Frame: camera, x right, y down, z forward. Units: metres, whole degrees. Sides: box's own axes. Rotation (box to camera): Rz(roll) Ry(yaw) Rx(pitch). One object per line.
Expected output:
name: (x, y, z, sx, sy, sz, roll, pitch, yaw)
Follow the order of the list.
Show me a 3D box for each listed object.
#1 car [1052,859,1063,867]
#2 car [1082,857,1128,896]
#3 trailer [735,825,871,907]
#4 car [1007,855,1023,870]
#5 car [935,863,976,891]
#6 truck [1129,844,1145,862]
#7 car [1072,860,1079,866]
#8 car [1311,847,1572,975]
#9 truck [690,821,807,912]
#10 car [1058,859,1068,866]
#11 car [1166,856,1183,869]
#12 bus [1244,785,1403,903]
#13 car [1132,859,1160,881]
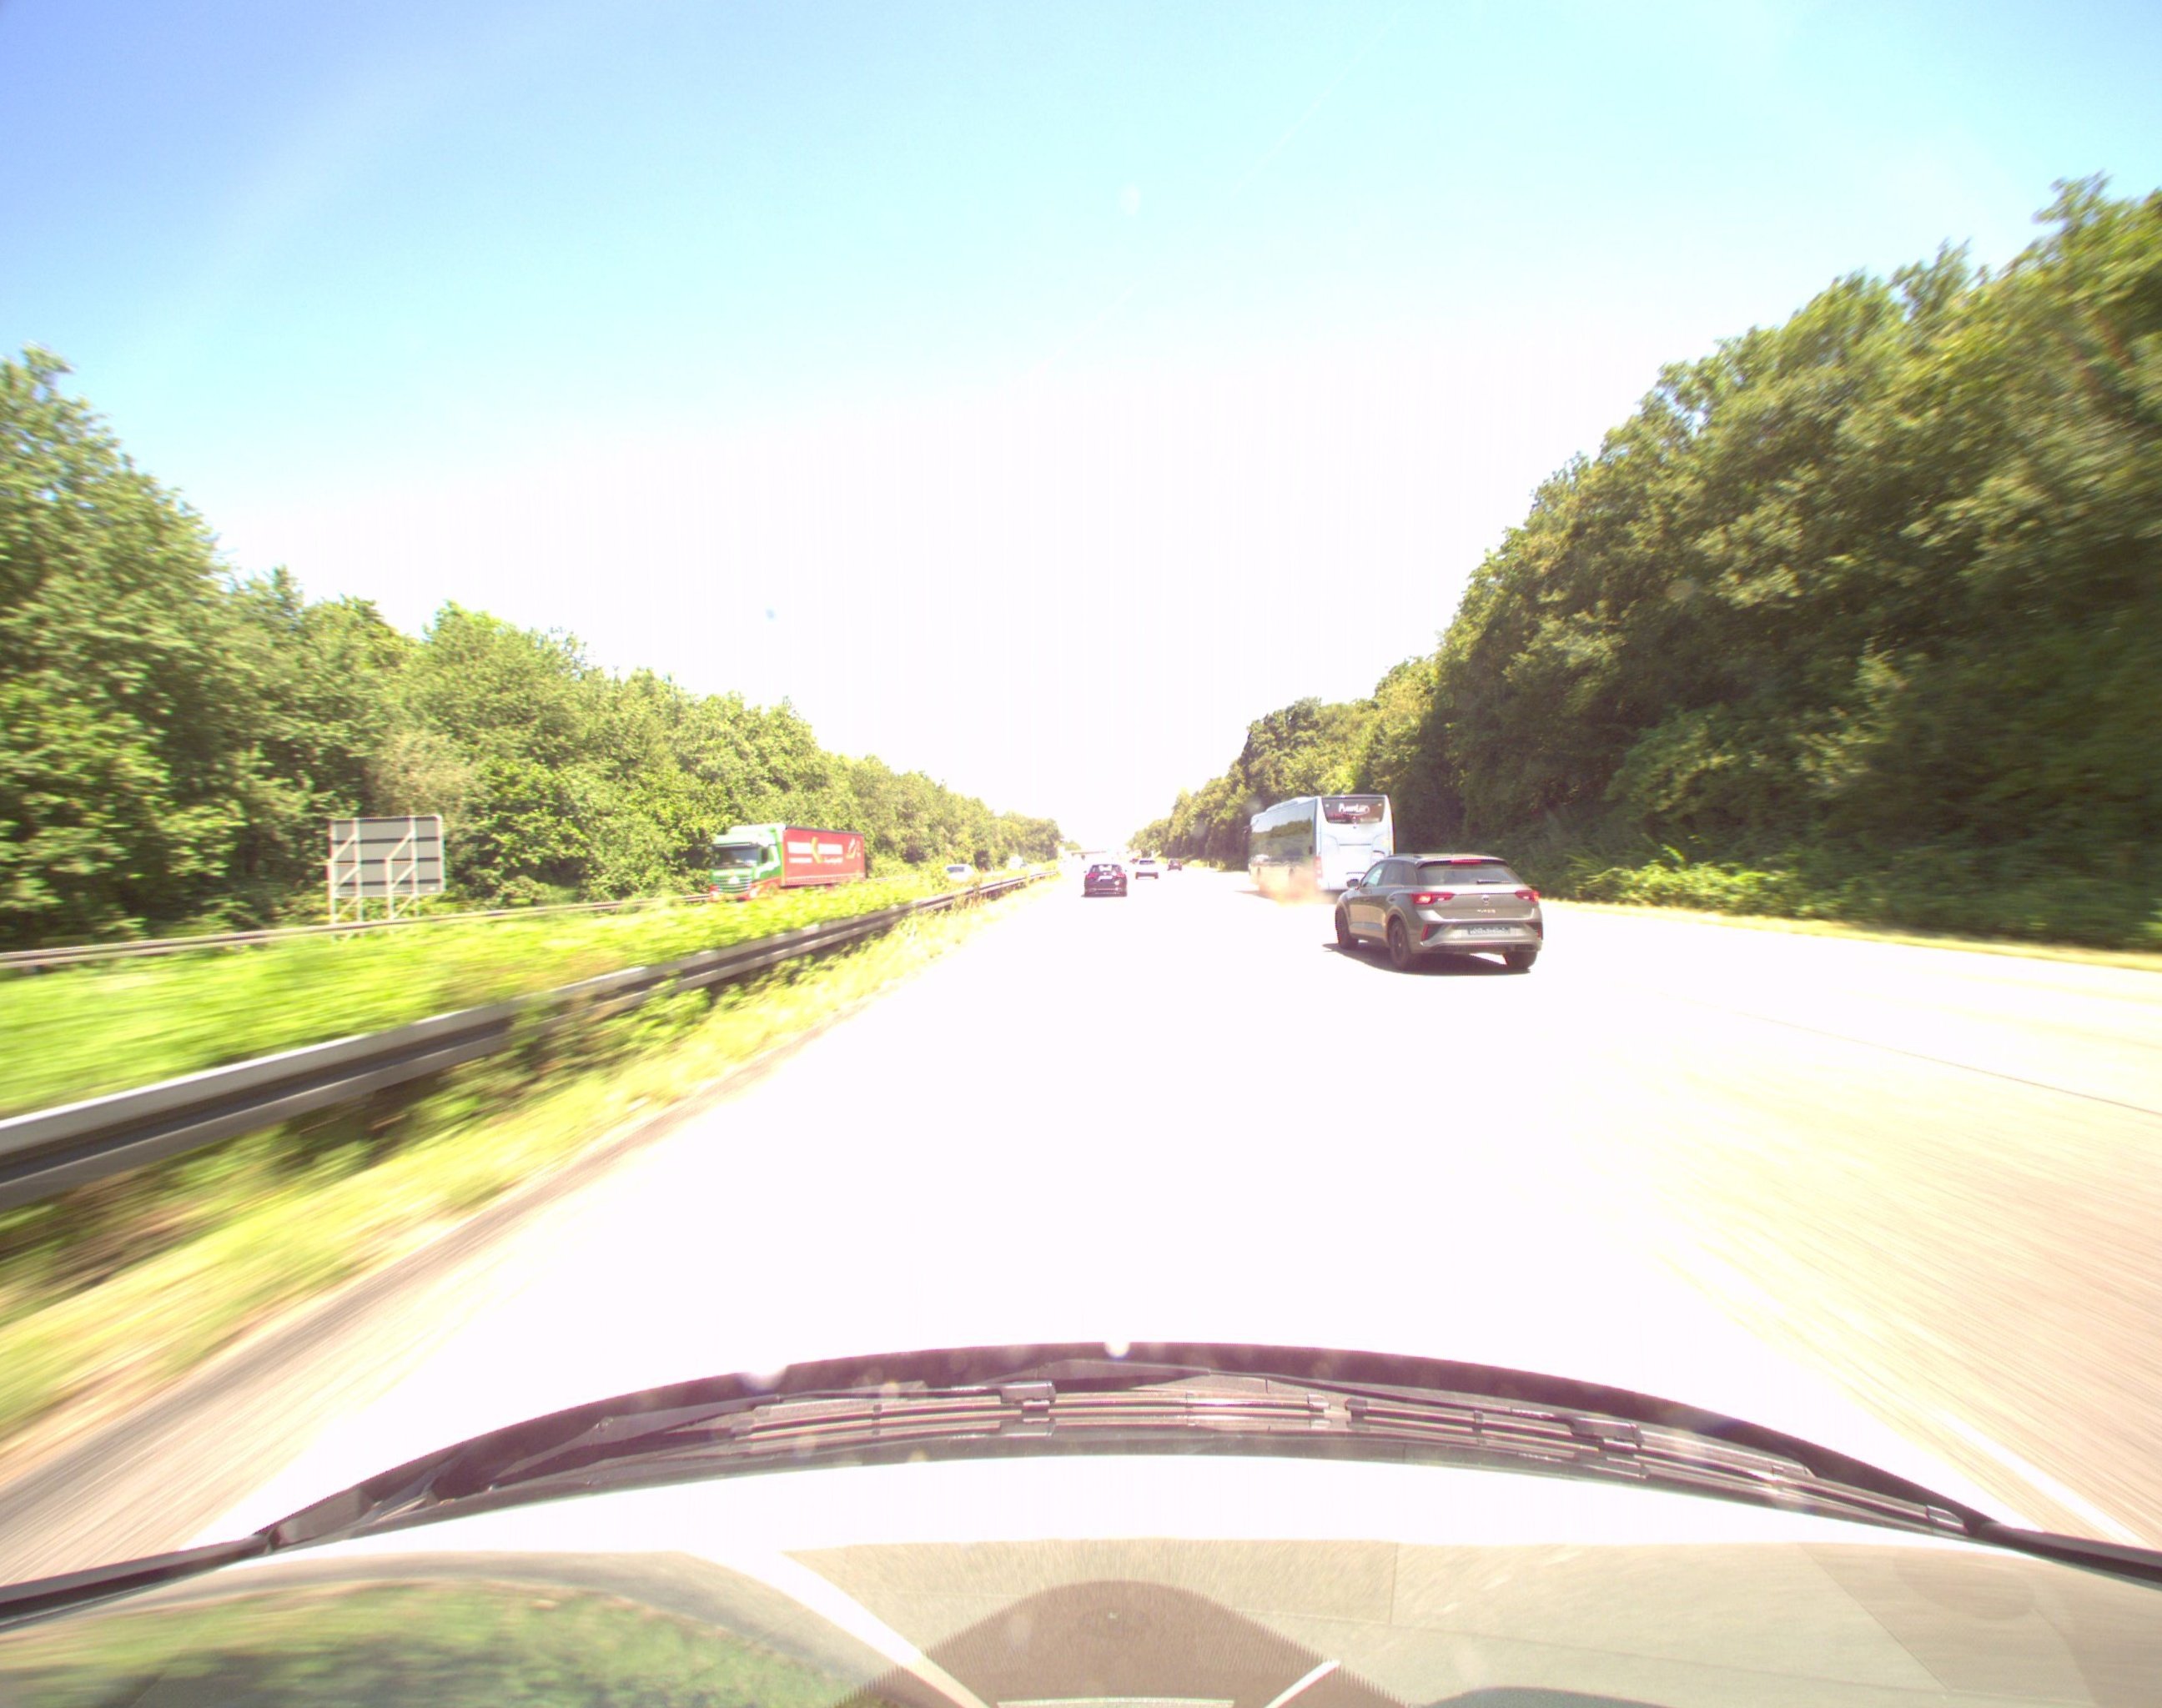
car: (-4.389, 1.632, 151.158, 1.842, 1.450, 4.208, -3, 0, 1)
car: (0.996, 0.899, 34.178, 1.793, 1.502, 4.242, -1, 0, 1)
trailer: (-15.950, 0.642, 48.213, 3.205, 4.059, 12.745, -2, 0, 1)
car: (-12.129, 1.534, 150.146, 2.079, 2.552, 6.230, -3, 0, 2)
car: (-7.324, 1.308, 47.874, 1.663, 1.511, 4.518, -2, 0, 0)
truck: (15.438, -0.231, 225.655, 3.634, 4.590, 15.768, 0, 0, 1)
car: (-1.457, 2.415, 229.509, 1.814, 1.523, 4.824, -3, 0, 1)
car: (5.069, 0.699, 12.310, 1.892, 1.532, 4.760, -1, 0, 1)
truck: (-16.174, 0.586, 40.138, 3.205, 4.059, 5.620, -2, 0, 1)
car: (-3.942, 1.794, 175.562, 1.831, 1.383, 4.429, -3, 0, 2)
car: (11.276, 1.003, 98.538, 1.782, 1.461, 3.952, -1, 0, 3)
bus: (8.736, -0.275, 31.397, 2.791, 3.596, 12.480, -1, 0, 2)
car: (4.956, 1.199, 62.484, 1.892, 1.532, 4.242, -1, 0, 1)
